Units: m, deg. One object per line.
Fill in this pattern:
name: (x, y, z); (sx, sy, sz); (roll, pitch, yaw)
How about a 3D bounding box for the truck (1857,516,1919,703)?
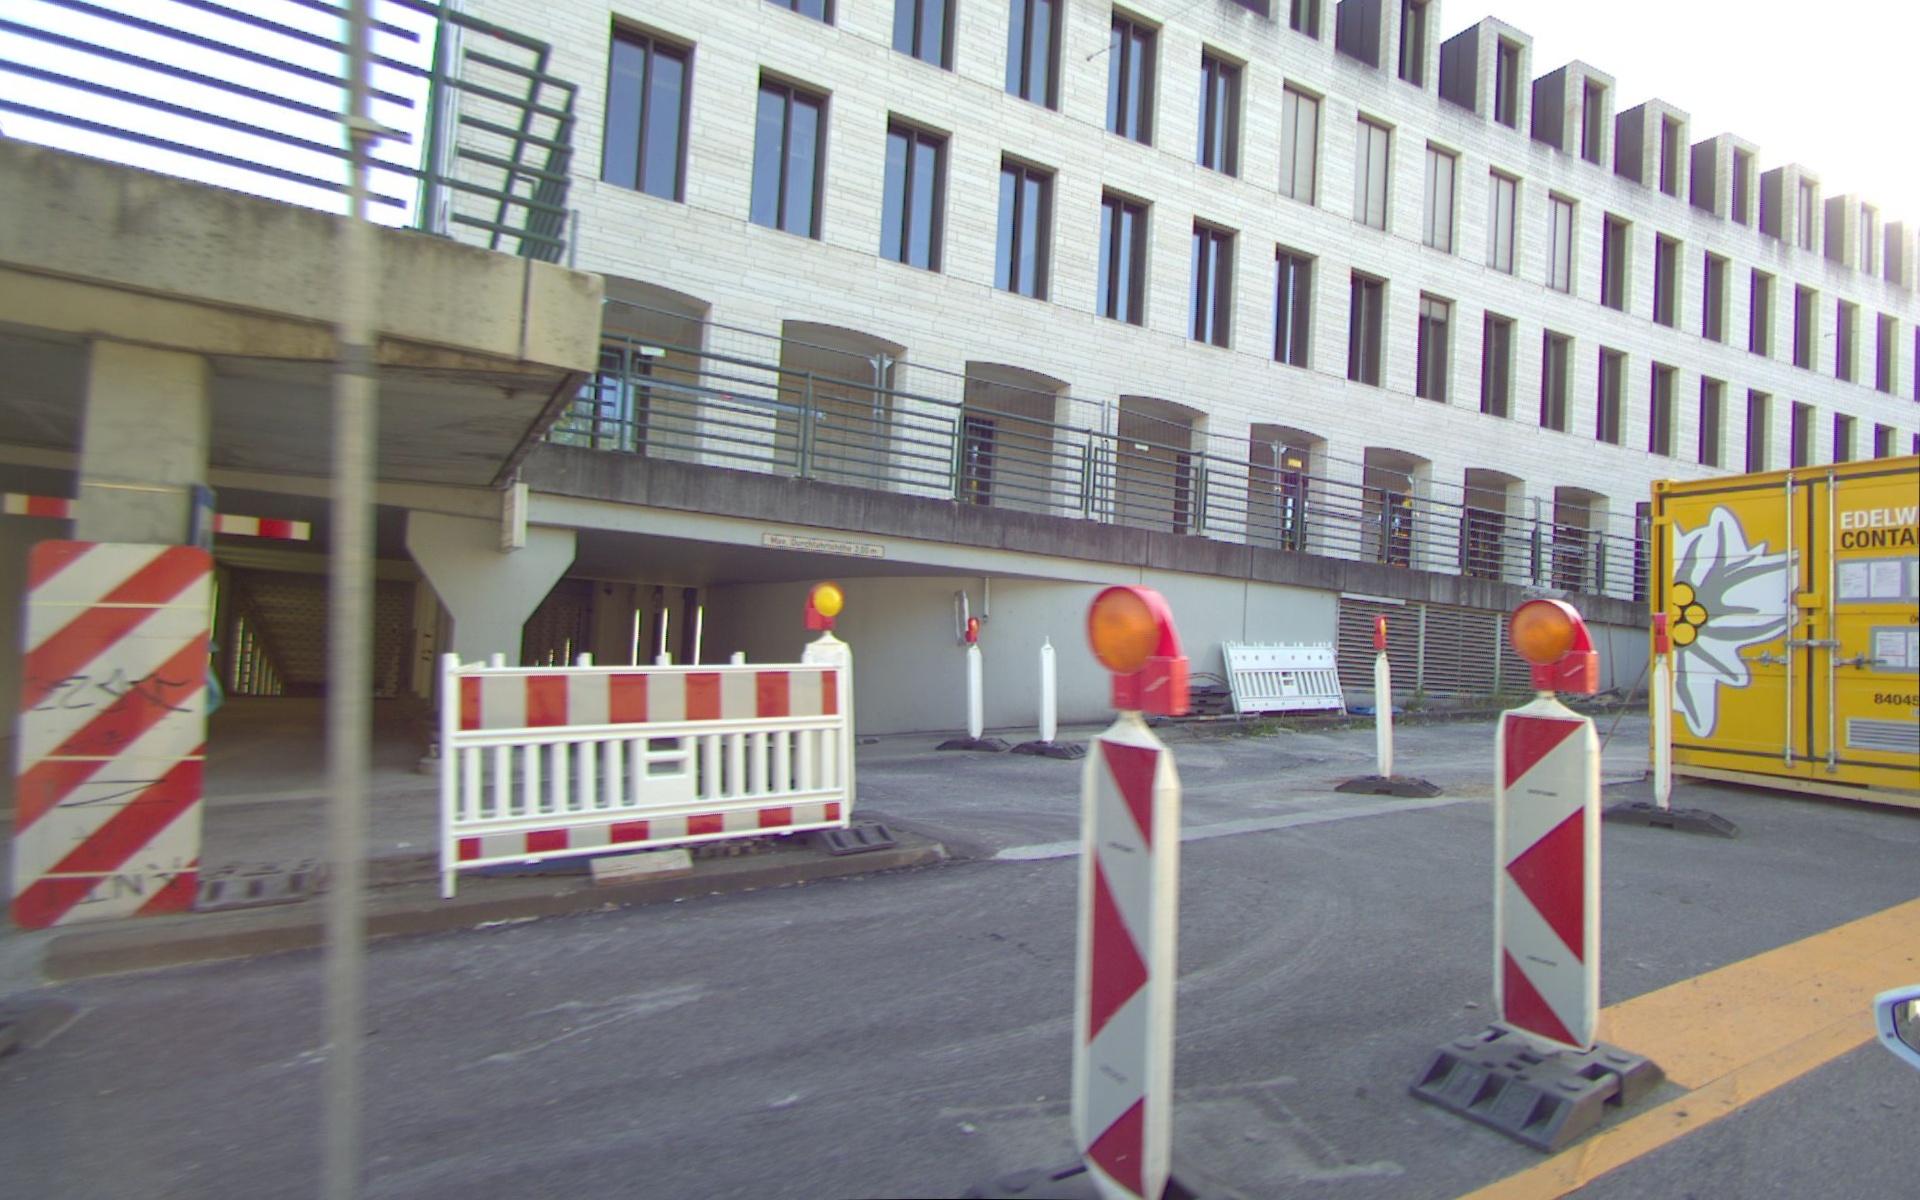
truck: (20.964, 0.207, 19.874); (5.736, 3.534, 2.573); (1, -5, -25)
